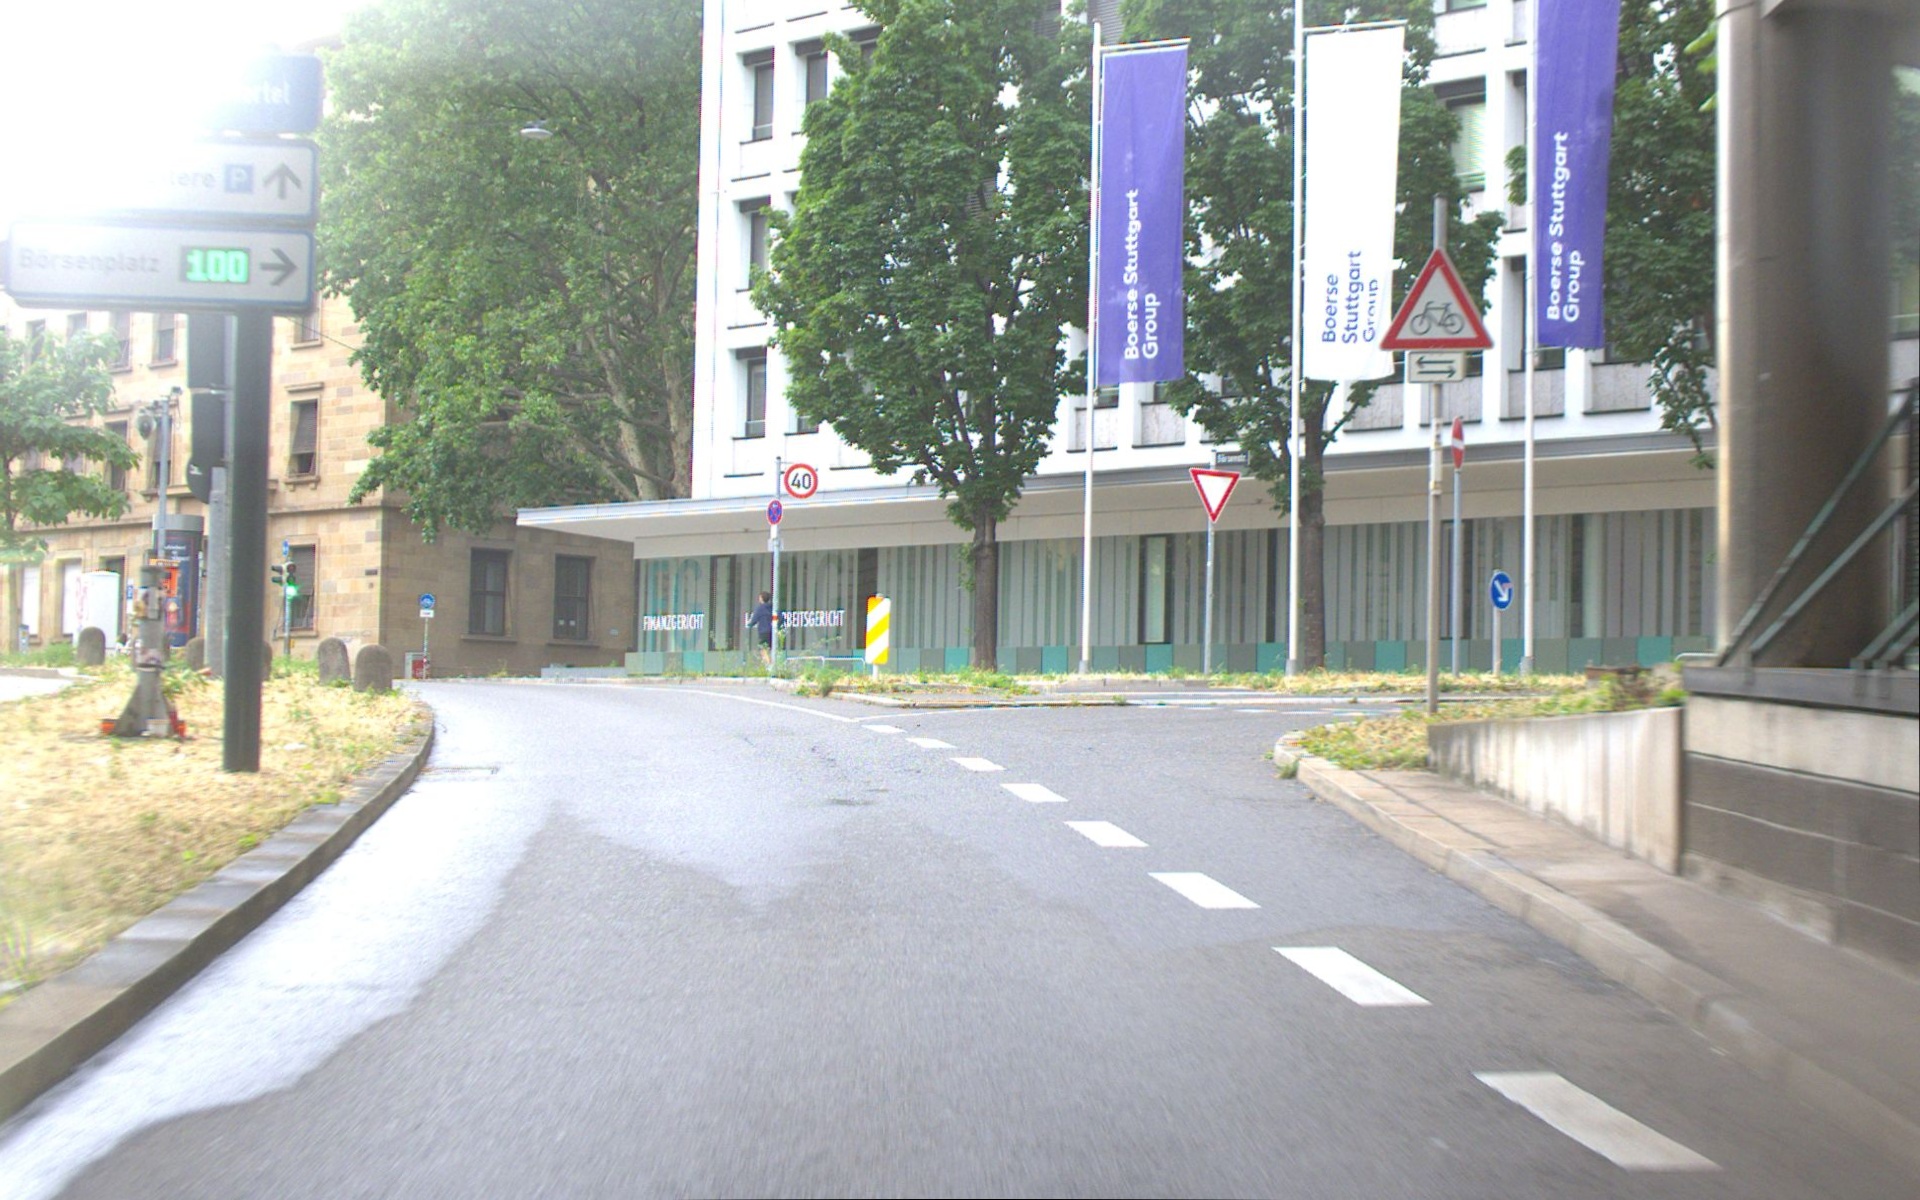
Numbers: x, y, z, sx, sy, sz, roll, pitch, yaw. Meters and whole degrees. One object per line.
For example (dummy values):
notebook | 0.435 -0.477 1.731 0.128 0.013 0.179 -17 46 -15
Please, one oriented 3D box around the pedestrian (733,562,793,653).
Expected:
pedestrian | -3.937 0.149 68.631 0.779 1.766 0.862 3 -2 -38
